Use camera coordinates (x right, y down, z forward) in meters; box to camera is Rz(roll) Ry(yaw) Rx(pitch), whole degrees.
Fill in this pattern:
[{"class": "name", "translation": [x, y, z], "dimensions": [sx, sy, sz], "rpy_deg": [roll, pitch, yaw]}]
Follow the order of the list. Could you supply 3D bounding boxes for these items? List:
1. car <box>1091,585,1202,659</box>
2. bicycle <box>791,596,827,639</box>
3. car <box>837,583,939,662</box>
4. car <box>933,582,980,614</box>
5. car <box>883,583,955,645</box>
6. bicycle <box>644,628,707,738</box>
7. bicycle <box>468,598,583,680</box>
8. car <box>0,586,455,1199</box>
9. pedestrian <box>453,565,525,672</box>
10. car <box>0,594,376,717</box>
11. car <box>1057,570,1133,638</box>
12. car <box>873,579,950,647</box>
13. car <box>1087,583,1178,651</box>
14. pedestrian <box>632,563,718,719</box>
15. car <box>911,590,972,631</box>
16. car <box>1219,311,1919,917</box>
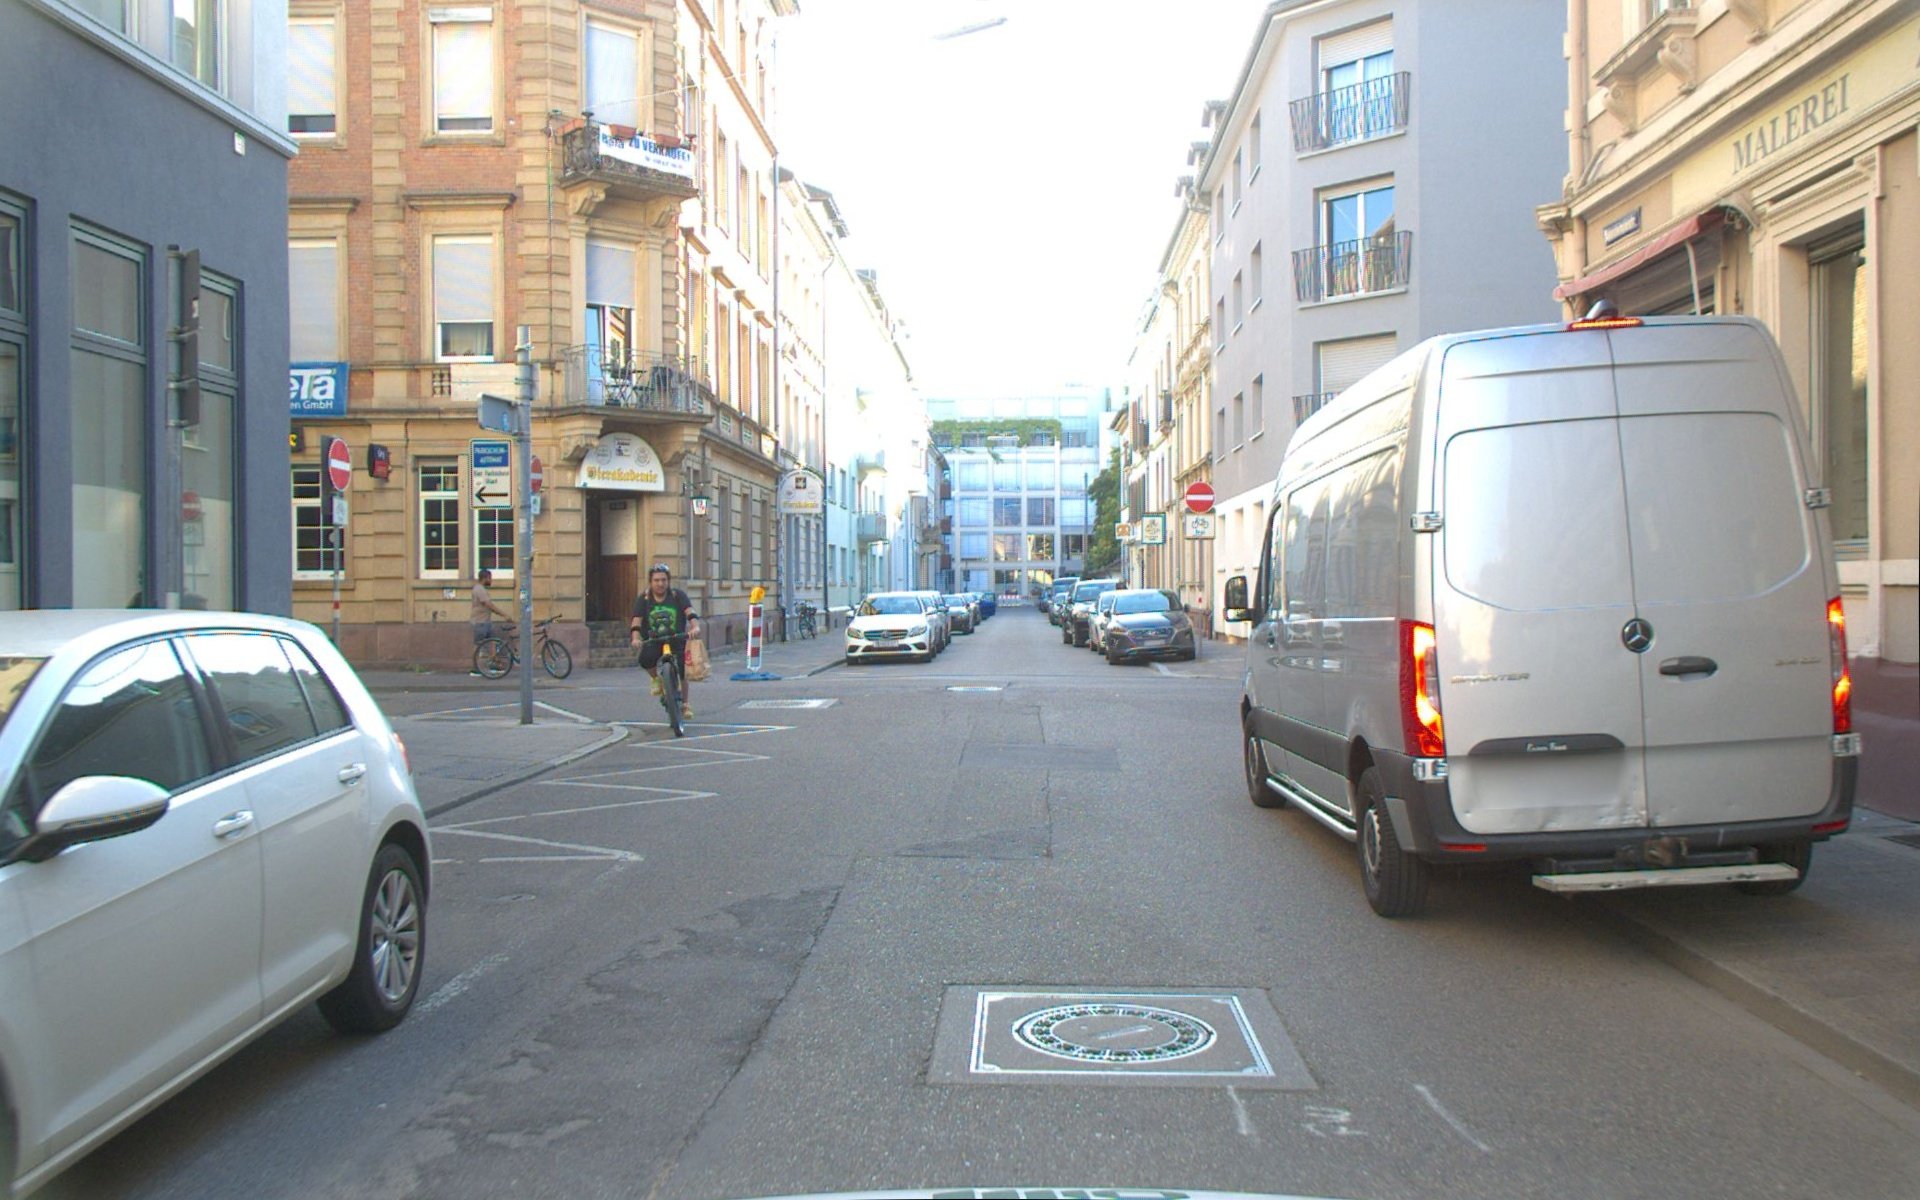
[{"class": "car", "translation": [3.824, 0.413, 34.470], "dimensions": [1.898, 1.396, 3.789], "rpy_deg": [-2, 1, 1]}, {"class": "bicycle", "translation": [-4.308, 0.478, 47.238], "dimensions": [0.722, 1.181, 2.462], "rpy_deg": [0, 0, 2]}, {"class": "car", "translation": [-1.485, 0.428, 35.655], "dimensions": [1.952, 1.591, 4.506], "rpy_deg": [0, 1, 0]}, {"class": "car", "translation": [-0.167, -0.121, 76.414], "dimensions": [2.128, 1.443, 4.000], "rpy_deg": [0, 0, 0]}, {"class": "car", "translation": [-1.130, 0.372, 47.132], "dimensions": [1.748, 1.687, 3.818], "rpy_deg": [0, 0, 3]}, {"class": "bicycle", "translation": [-2.998, 0.834, 17.334], "dimensions": [0.529, 1.025, 1.974], "rpy_deg": [0, 0, -13]}, {"class": "bicycle", "translation": [-7.183, 0.636, 27.389], "dimensions": [1.722, 1.297, 0.661], "rpy_deg": [0, 4, -2]}, {"class": "car", "translation": [-2.730, 0.696, 4.190], "dimensions": [1.623, 1.438, 3.883], "rpy_deg": [0, 0, 1]}, {"class": "pedestrian", "translation": [-7.954, 0.298, 27.970], "dimensions": [0.994, 1.772, 0.983], "rpy_deg": [0, 0, -6]}, {"class": "car", "translation": [-9.937, 0.675, 20.993], "dimensions": [4.382, 1.426, 1.757], "rpy_deg": [0, 2, 0]}, {"class": "car", "translation": [3.704, 0.086, 45.974], "dimensions": [1.854, 1.815, 4.001], "rpy_deg": [0, 0, 1]}, {"class": "car", "translation": [-1.164, 0.293, 41.387], "dimensions": [1.591, 1.604, 3.756], "rpy_deg": [0, 0, 3]}, {"class": "car", "translation": [4.178, 0.382, 40.536], "dimensions": [1.923, 1.584, 3.890], "rpy_deg": [0, 0, 2]}, {"class": "pedestrian", "translation": [-3.001, 0.409, 17.349], "dimensions": [0.815, 1.572, 1.079], "rpy_deg": [0, 0, -14]}, {"class": "car", "translation": [-0.609, 0.334, 58.353], "dimensions": [1.952, 1.378, 4.430], "rpy_deg": [0, 0, 2]}, {"class": "car", "translation": [2.991, 0.030, 9.927], "dimensions": [2.229, 2.482, 6.206], "rpy_deg": [0, 1, 3]}]
